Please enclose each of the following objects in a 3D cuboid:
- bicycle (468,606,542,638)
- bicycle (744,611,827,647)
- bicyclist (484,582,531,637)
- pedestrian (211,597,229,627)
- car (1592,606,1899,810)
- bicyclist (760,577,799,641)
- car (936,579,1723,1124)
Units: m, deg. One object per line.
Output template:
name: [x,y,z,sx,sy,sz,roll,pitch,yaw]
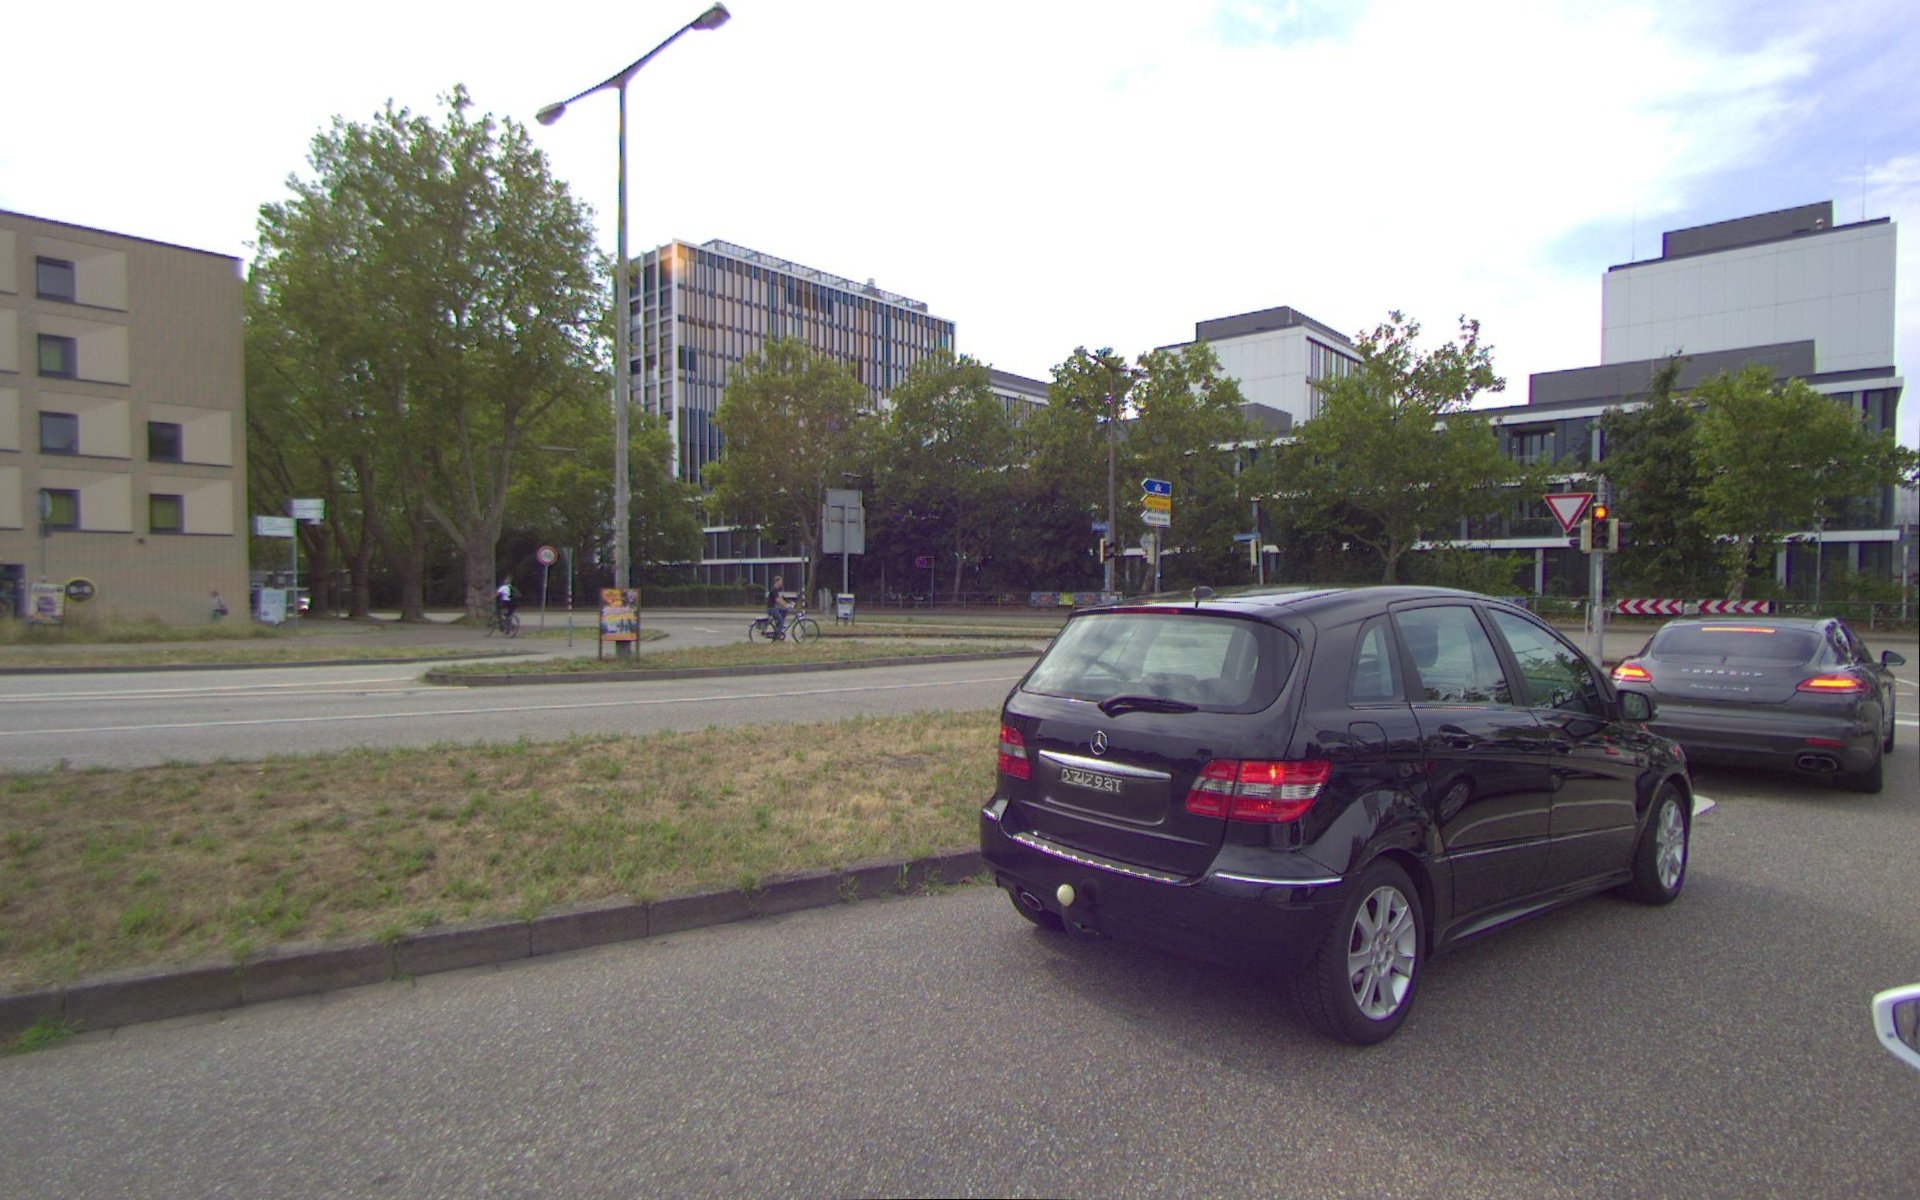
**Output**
bicycle: [-14.577,0.695,32.204,2.191,0.965,0.812,1,0,18]
bicycle: [-4.602,0.757,26.490,2.085,0.921,0.739,1,0,-18]
bicyclist: [-14.484,0.293,32.188,1.093,1.719,0.813,1,0,17]
pedestrian: [-28.987,0.470,39.326,0.494,1.140,0.461,1,1,39]
car: [7.734,0.808,9.687,1.800,1.433,4.746,2,1,44]
bicyclist: [-4.753,0.236,26.434,0.906,1.636,0.739,1,0,-17]
car: [1.997,0.713,4.877,4.000,1.596,1.743,-1,2,-38]
